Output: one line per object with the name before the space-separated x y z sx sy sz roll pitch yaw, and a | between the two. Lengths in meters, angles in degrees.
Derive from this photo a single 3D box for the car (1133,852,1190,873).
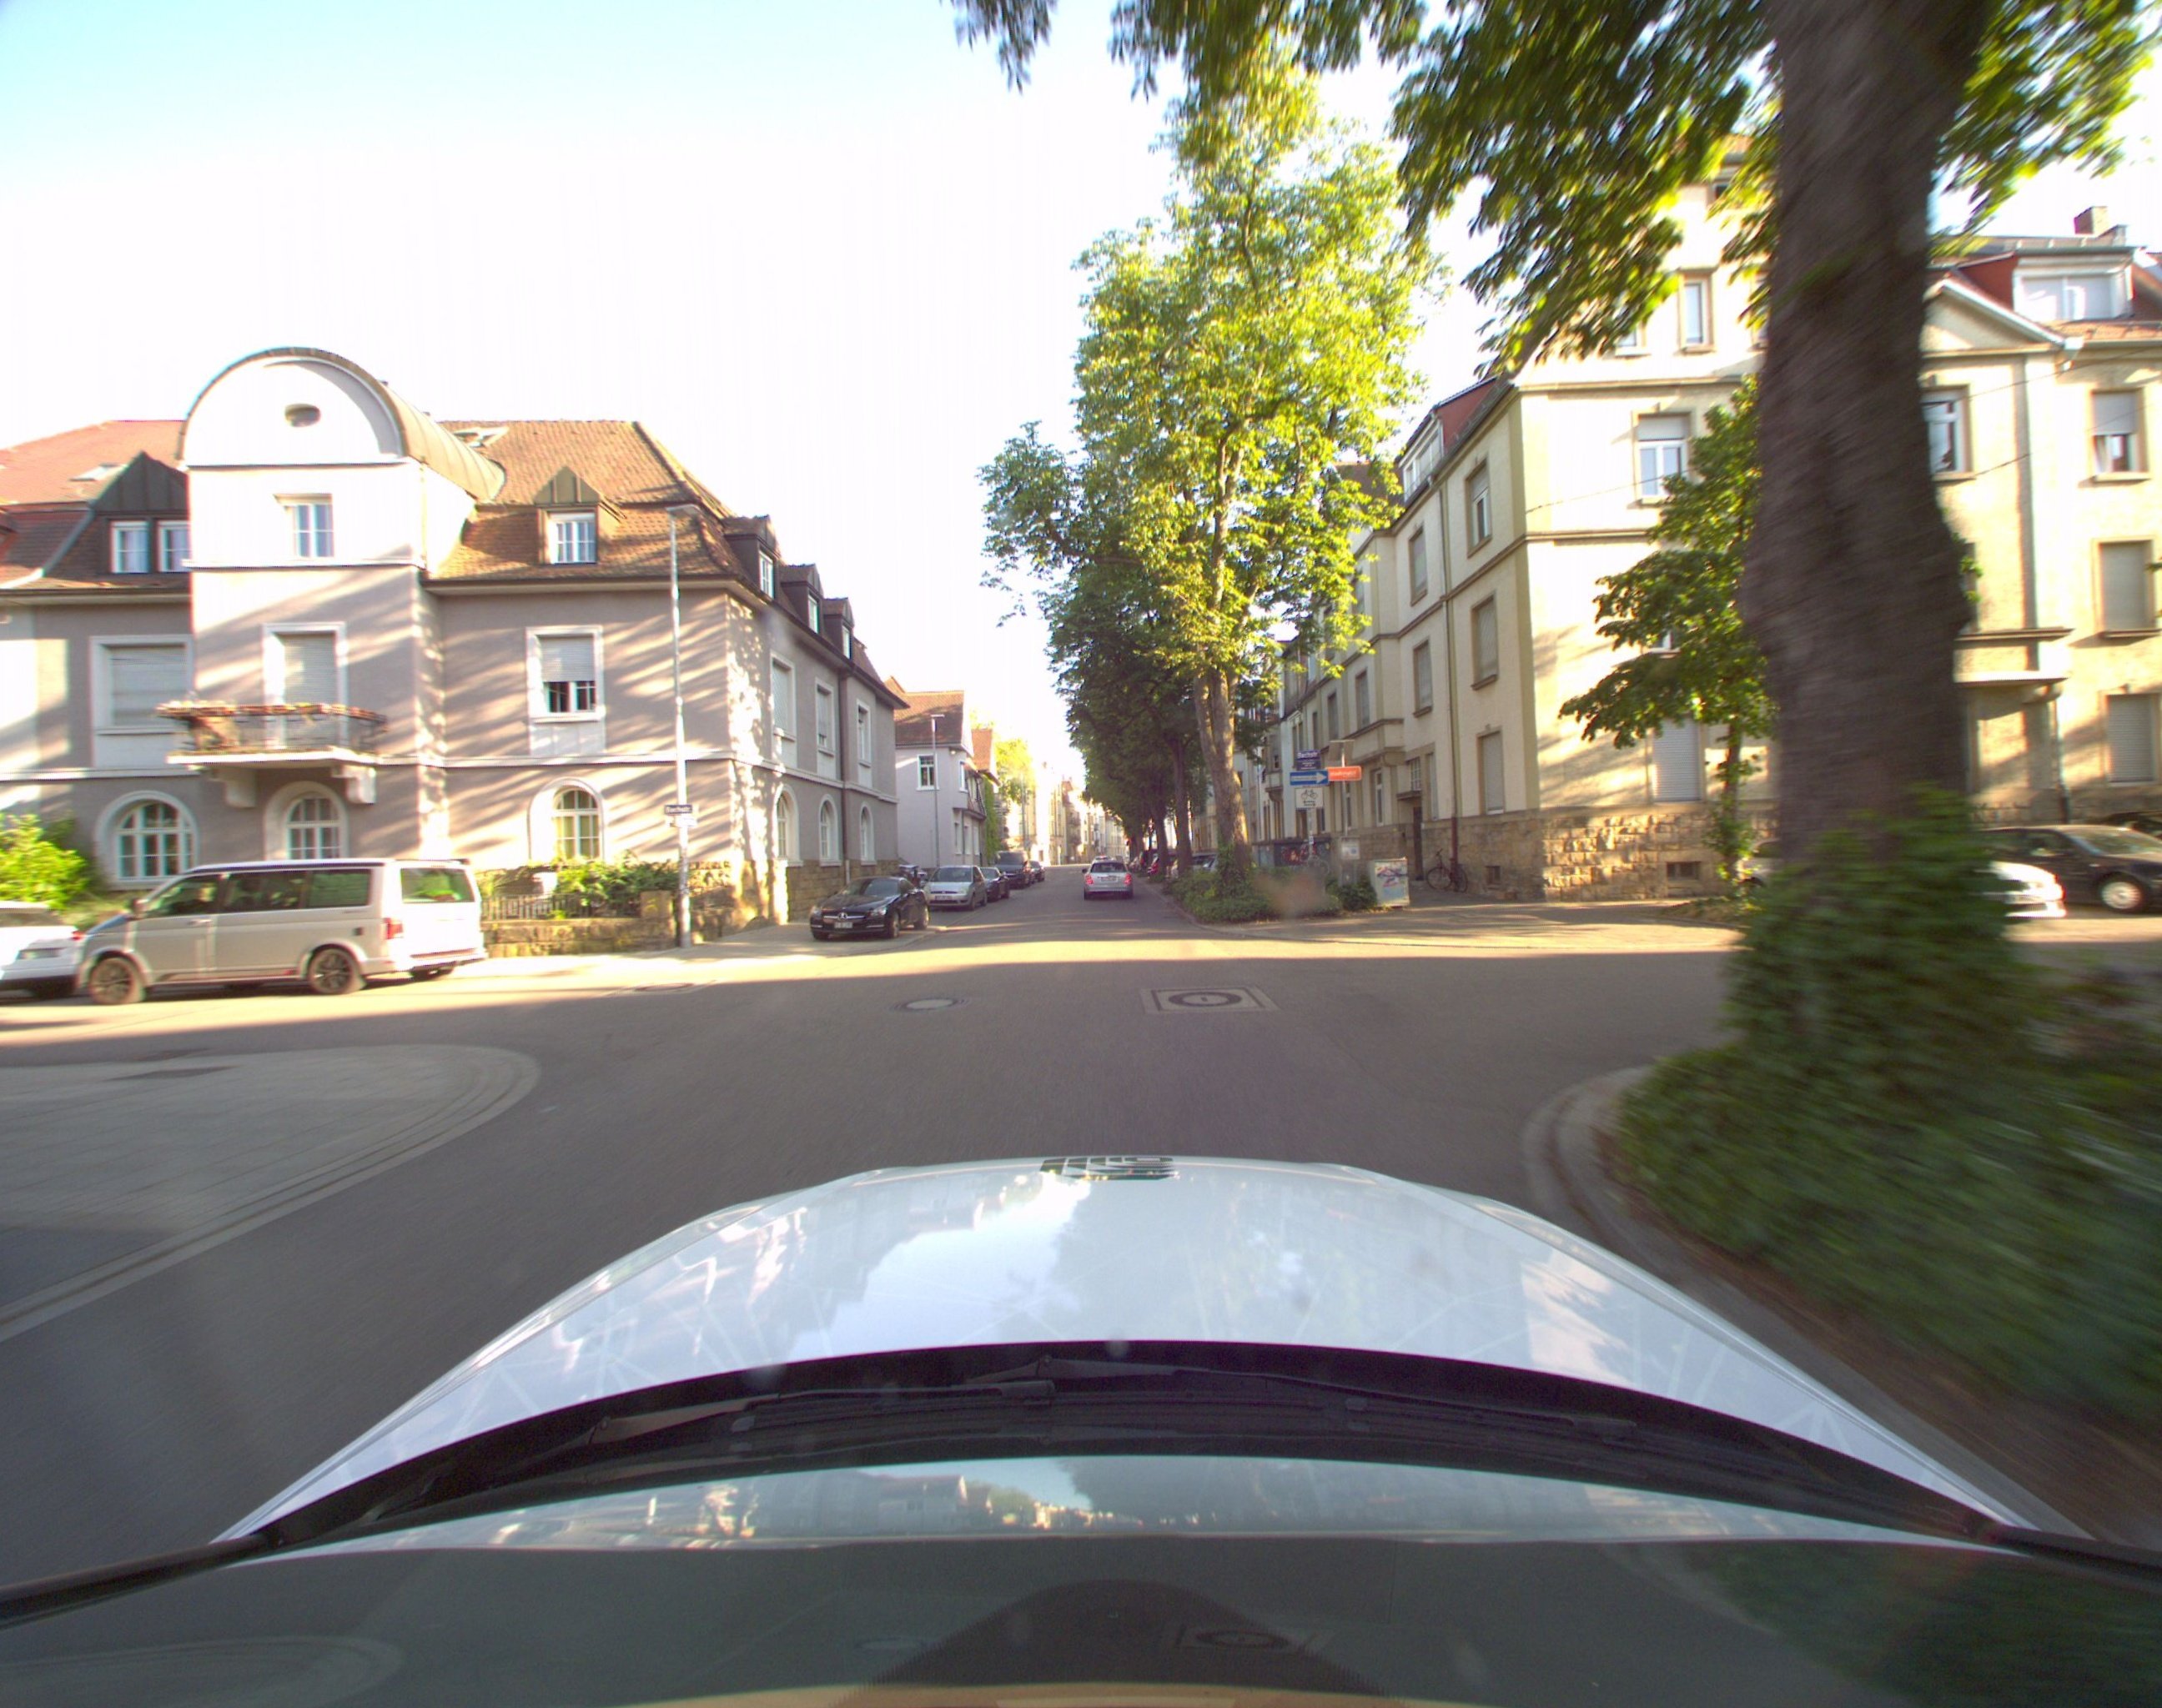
car | 6.324 0.652 64.399 4.275 1.541 1.876 -2 0 -1

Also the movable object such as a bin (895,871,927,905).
movable object such as a bin | -6.791 1.339 32.640 0.719 1.283 2.097 -2 0 2

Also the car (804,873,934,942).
car | -4.676 1.130 18.569 1.646 1.324 4.049 -1 0 4

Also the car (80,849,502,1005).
car | -11.819 1.067 12.475 4.388 2.014 1.998 -2 -3 -2

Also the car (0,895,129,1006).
car | -17.860 1.516 12.382 4.280 1.588 1.998 -2 -3 -2

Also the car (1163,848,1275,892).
car | 5.502 0.628 32.790 4.138 1.577 1.710 -2 -1 -4

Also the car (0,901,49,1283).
car | -5.111 0.933 1.352 1.697 1.460 3.920 -1 0 3

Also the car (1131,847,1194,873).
car | 6.850 0.499 68.762 5.038 1.989 2.071 -2 0 -1

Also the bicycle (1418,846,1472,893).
bicycle | 10.059 0.405 22.562 0.583 1.212 1.957 -2 0 -1

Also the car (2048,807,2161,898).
car | 19.872 -0.056 13.890 1.717 1.607 4.288 -2 0 2

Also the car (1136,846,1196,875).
car | 6.398 0.466 61.506 4.207 1.896 1.905 -3 0 -1

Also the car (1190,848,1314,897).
car | 5.815 0.611 27.938 3.785 1.438 1.747 -3 0 -3

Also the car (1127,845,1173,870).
car | 6.861 0.342 81.605 4.376 2.364 1.999 -2 0 -1

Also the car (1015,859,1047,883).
car | -3.307 1.114 54.671 1.688 1.447 4.359 -1 0 2

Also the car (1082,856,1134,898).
car | 1.023 0.811 30.097 1.777 1.437 3.852 -1 -1 2

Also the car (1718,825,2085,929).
car | 13.364 0.304 13.763 1.777 1.409 4.471 -2 0 2

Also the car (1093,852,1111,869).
car | 2.123 0.621 81.863 1.617 1.570 3.682 -2 0 2

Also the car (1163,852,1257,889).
car | 5.509 0.702 35.213 3.779 1.438 1.818 -2 -1 1

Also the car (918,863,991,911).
car | -4.164 1.042 27.343 1.647 1.445 3.962 -1 0 2

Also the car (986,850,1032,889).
car | -3.806 0.772 43.919 1.975 1.947 4.852 -1 0 1

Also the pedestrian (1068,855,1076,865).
pedestrian | -1.582 1.061 144.849 1.215 1.721 1.505 -1 0 5

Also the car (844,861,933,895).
car | -9.210 1.142 39.176 3.854 1.443 1.633 -2 0 -3

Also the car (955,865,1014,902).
car | -3.781 1.125 32.513 1.524 1.319 4.231 -1 -1 4

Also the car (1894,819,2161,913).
car | 17.494 0.143 14.382 1.837 1.409 4.531 -2 0 2

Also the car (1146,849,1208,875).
car | 6.666 0.566 56.799 4.095 1.571 1.877 -3 -1 1

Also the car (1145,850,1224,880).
car | 6.008 0.616 47.723 4.392 1.419 1.879 -4 -1 3

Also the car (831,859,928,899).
car | -8.983 1.085 36.526 3.854 1.621 1.896 -2 0 -3

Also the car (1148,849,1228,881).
car | 5.845 0.590 44.912 4.171 1.475 1.853 -4 -1 3

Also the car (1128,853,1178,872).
car | 6.498 0.763 73.694 4.275 1.417 1.876 -3 0 -1

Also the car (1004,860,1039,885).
car | -3.572 1.099 49.619 1.647 1.447 4.239 0 0 2
